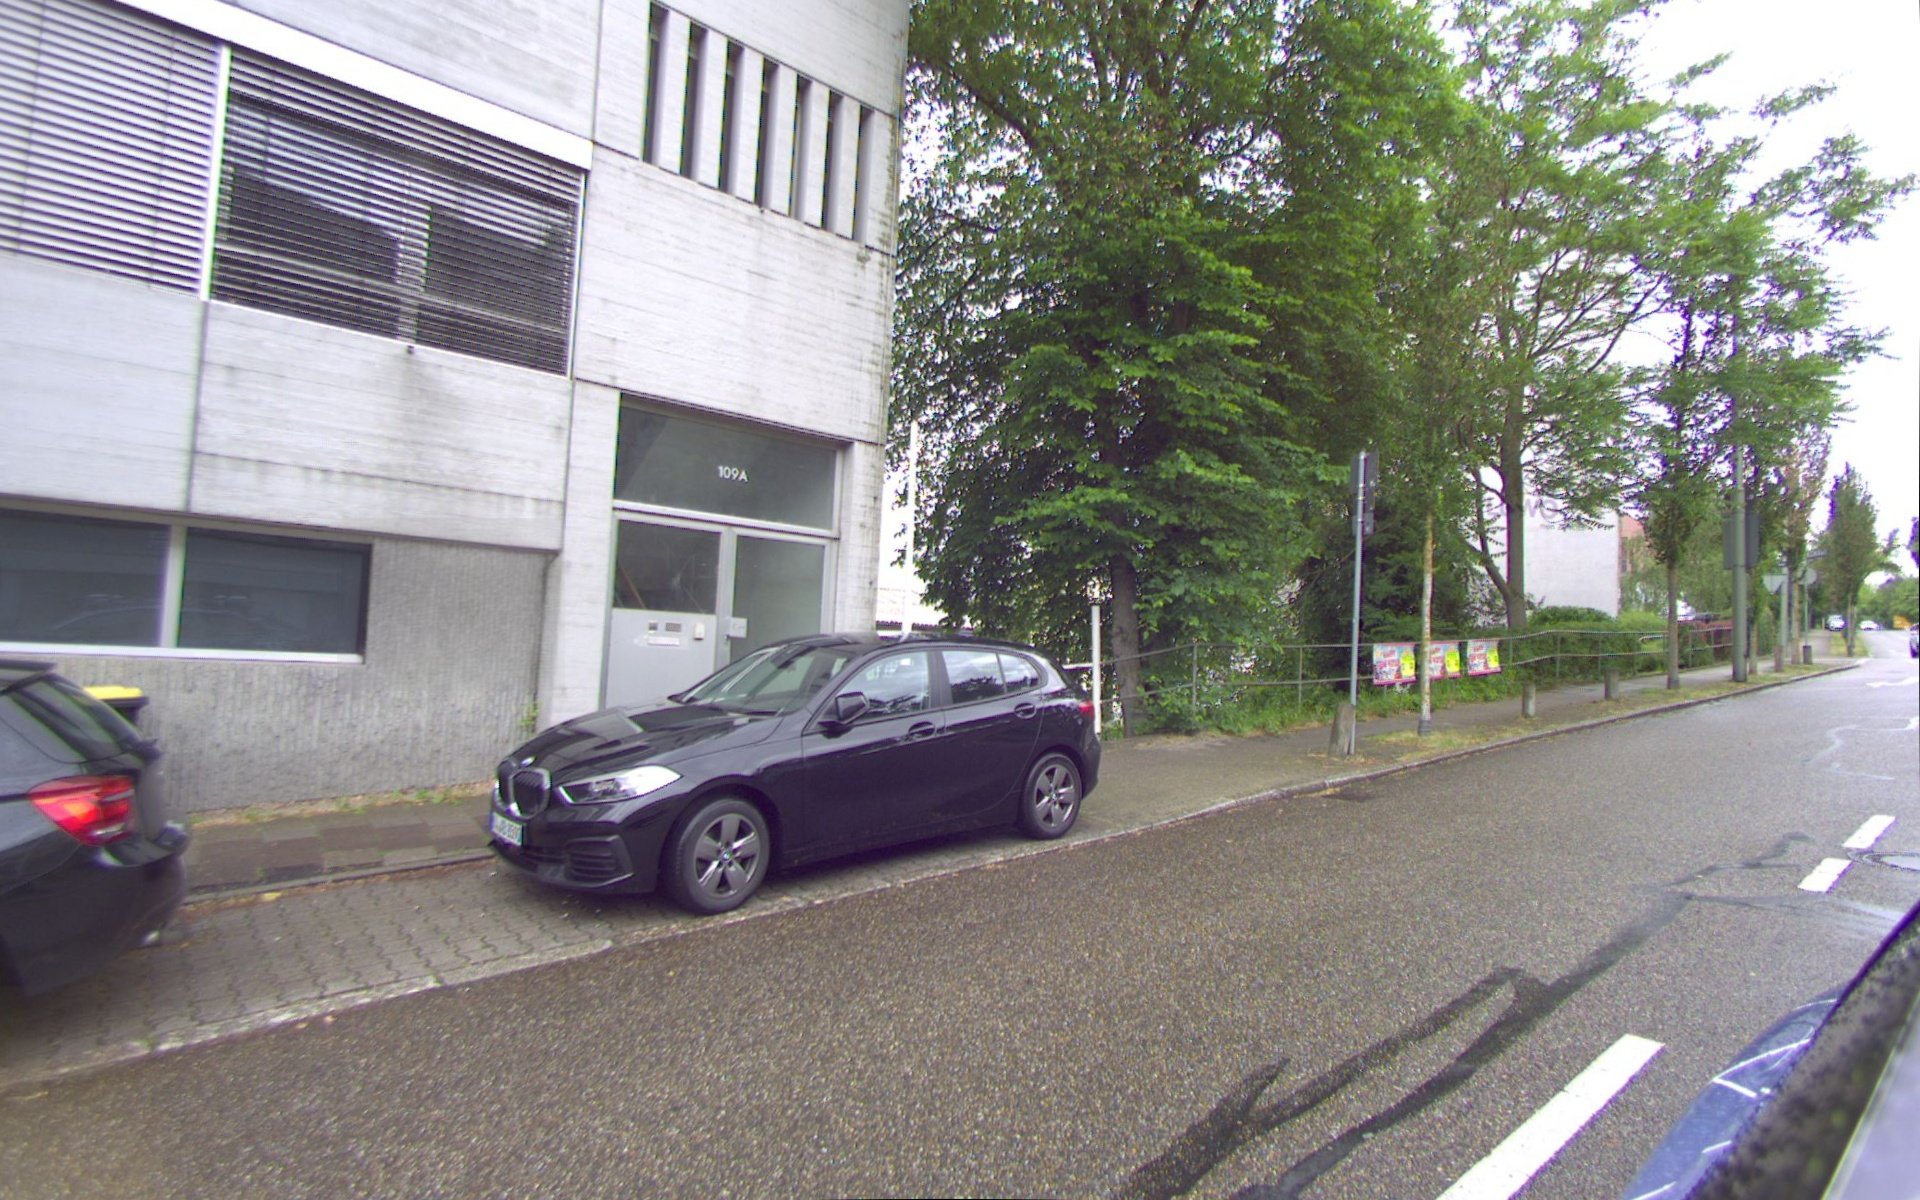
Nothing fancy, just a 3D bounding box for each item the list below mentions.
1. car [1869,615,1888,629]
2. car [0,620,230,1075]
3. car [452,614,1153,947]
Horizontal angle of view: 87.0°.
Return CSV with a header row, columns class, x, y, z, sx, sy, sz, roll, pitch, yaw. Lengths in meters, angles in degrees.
class,x,y,z,sx,sy,sz,roll,pitch,yaw
car,126.058,2.937,138.853,1.887,1.741,4.171,2,2,43
car,-4.898,0.842,3.171,4.173,1.466,1.753,0,0,-38
car,-0.819,0.865,6.915,4.367,1.453,1.996,0,1,-43
